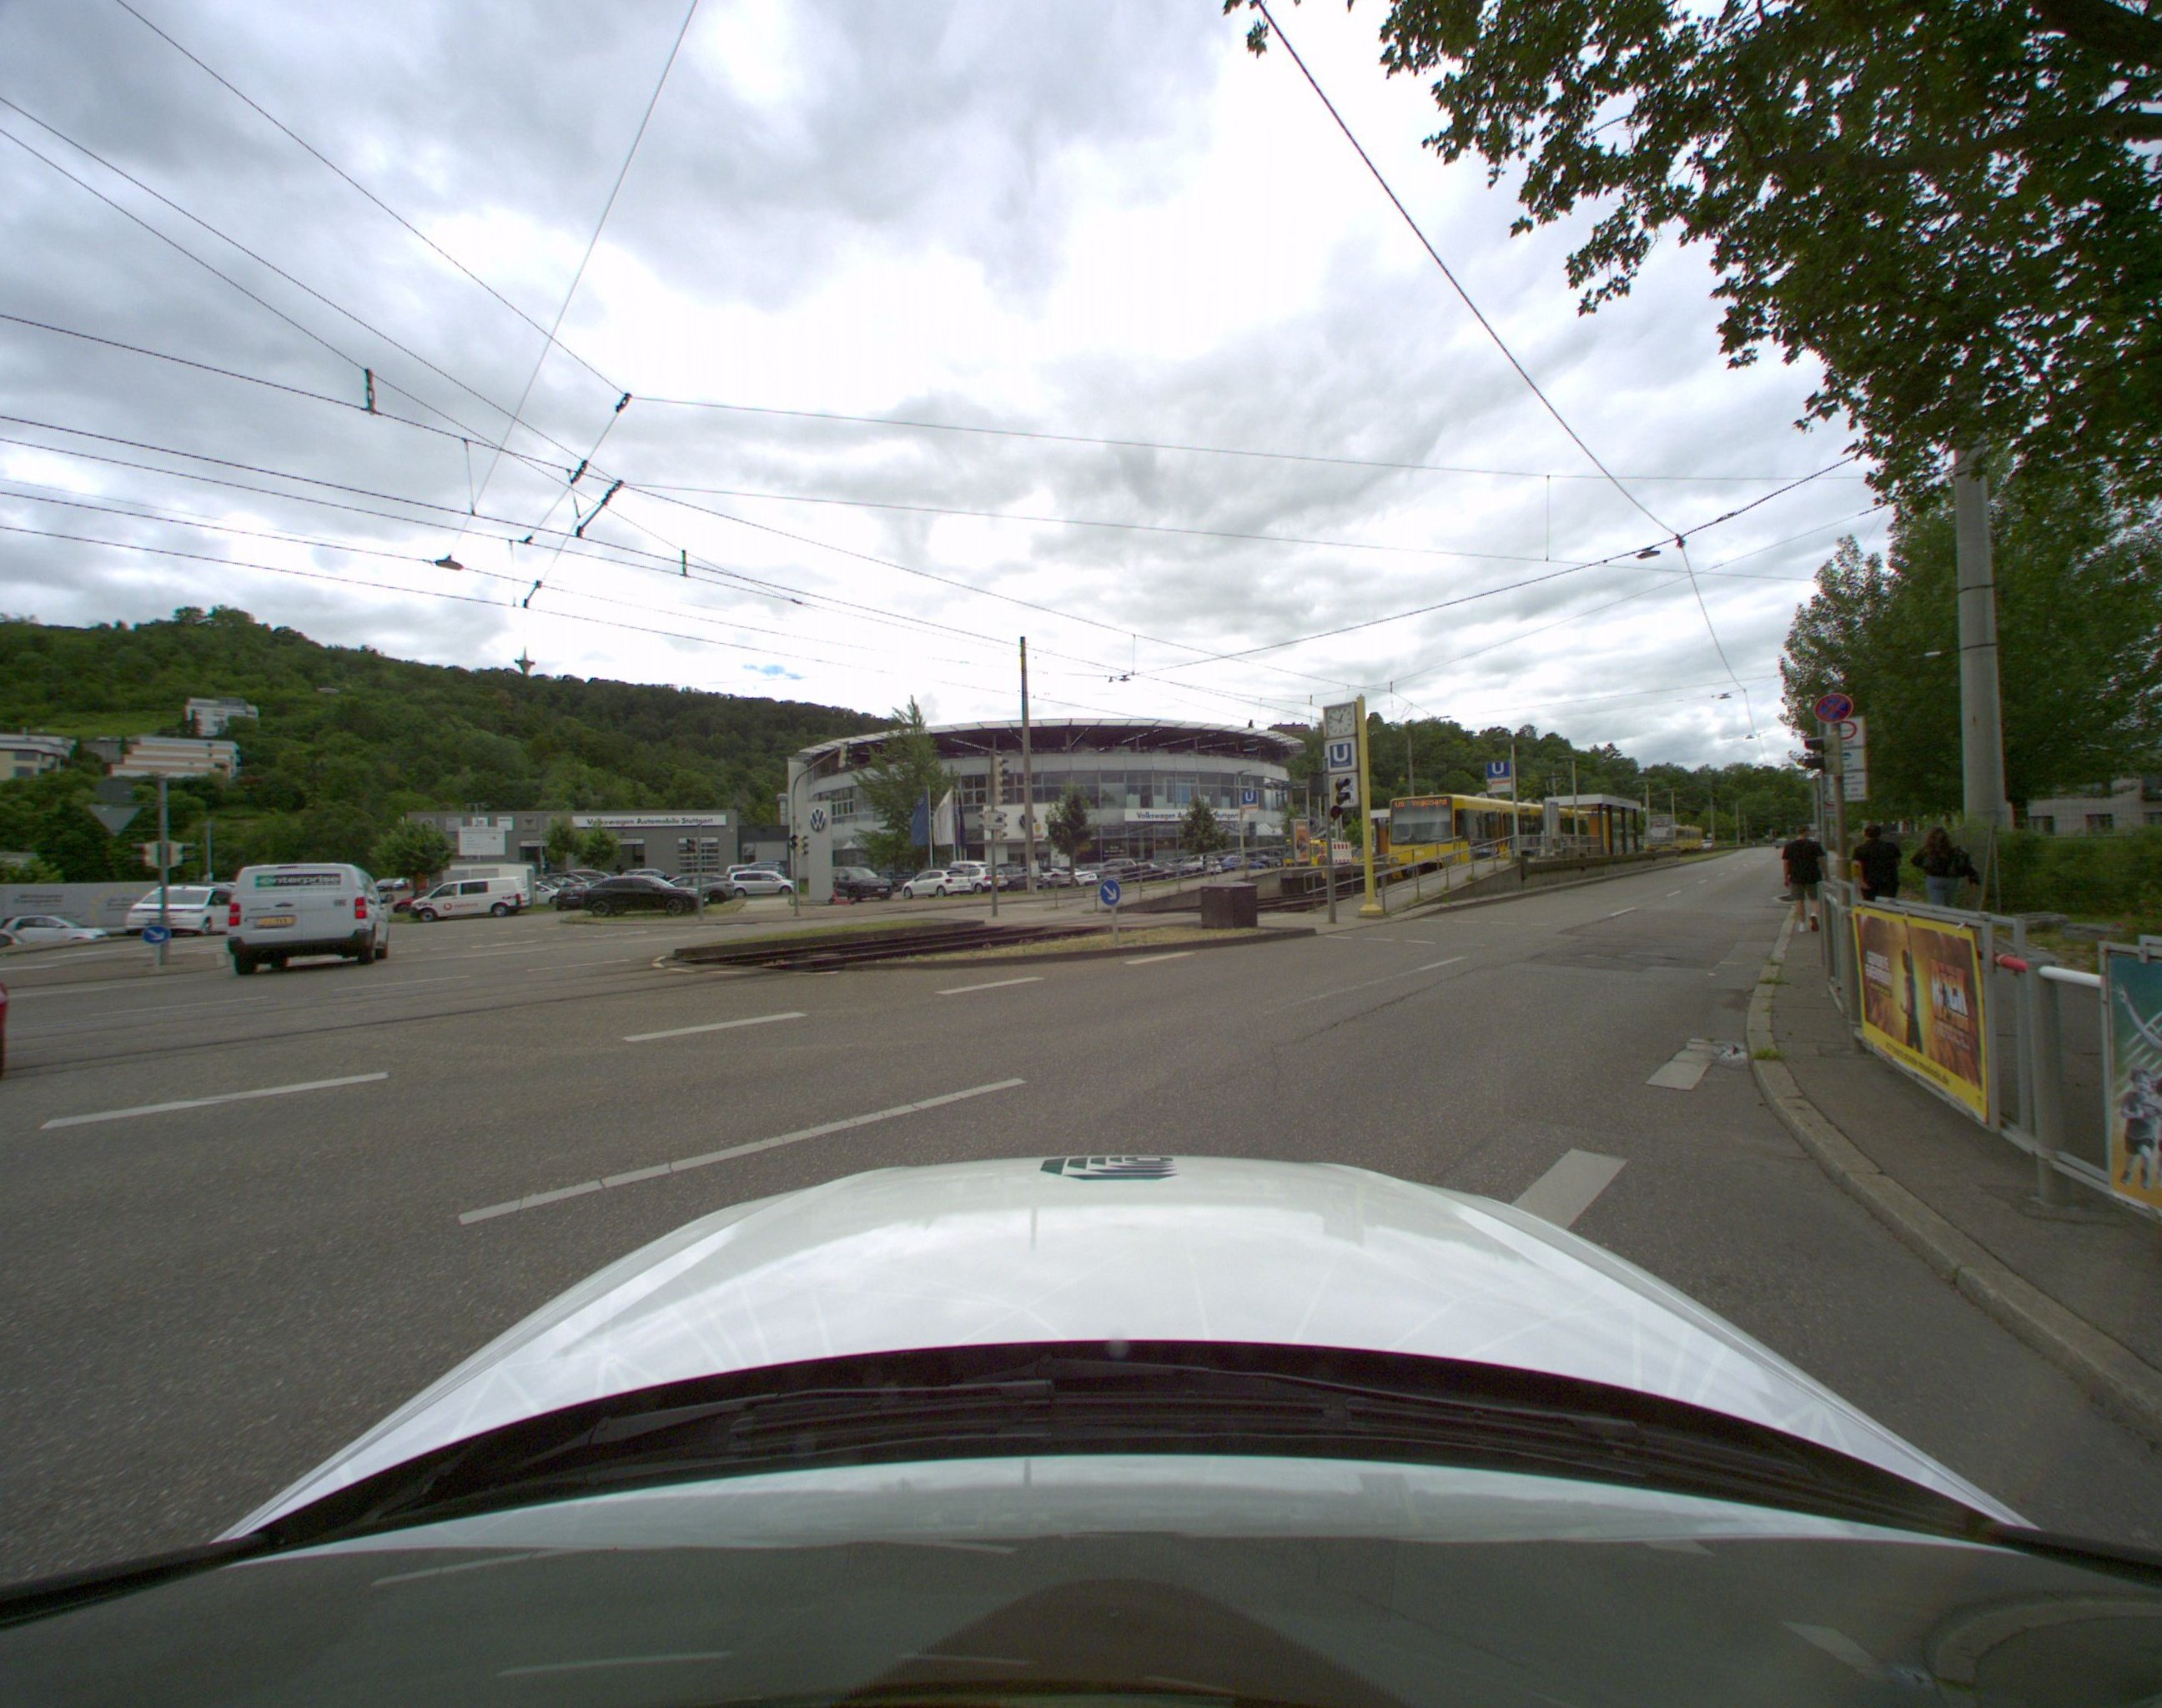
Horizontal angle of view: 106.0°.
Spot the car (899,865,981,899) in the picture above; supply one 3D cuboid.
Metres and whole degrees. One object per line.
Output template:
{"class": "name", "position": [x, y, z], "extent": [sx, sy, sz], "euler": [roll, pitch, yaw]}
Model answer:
{"class": "car", "position": [-7.247, 1.463, 41.852], "extent": [3.948, 1.640, 2.012], "euler": [-2, -4, 38]}

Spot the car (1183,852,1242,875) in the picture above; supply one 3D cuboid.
{"class": "car", "position": [9.737, 0.731, 60.326], "extent": [1.938, 1.554, 3.951], "euler": [4, -5, -43]}

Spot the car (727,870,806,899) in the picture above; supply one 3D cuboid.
{"class": "car", "position": [-19.993, 1.955, 51.769], "extent": [4.518, 1.729, 1.983], "euler": [2, -4, -26]}

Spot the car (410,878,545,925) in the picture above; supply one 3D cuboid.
{"class": "car", "position": [-30.312, 2.370, 41.095], "extent": [5.019, 2.014, 1.986], "euler": [-3, -2, -20]}

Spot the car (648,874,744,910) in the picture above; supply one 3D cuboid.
{"class": "car", "position": [-18.923, 1.894, 40.082], "extent": [4.015, 1.706, 1.979], "euler": [3, -4, -34]}

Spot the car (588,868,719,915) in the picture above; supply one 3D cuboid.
{"class": "car", "position": [-16.365, 1.432, 31.382], "extent": [3.988, 1.639, 1.993], "euler": [1, 1, -11]}

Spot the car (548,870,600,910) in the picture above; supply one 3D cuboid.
{"class": "car", "position": [-28.284, 2.032, 45.560], "extent": [2.005, 2.014, 4.971], "euler": [-2, -2, -28]}

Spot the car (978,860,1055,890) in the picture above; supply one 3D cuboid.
{"class": "car", "position": [-3.580, 1.211, 45.128], "extent": [3.948, 1.554, 1.939], "euler": [-2, -4, 38]}

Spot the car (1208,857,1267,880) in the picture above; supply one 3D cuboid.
{"class": "car", "position": [11.729, 1.116, 61.214], "extent": [1.938, 1.554, 3.951], "euler": [4, -5, -43]}

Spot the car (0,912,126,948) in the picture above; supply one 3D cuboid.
{"class": "car", "position": [-40.831, 3.015, 32.759], "extent": [2.825, 1.338, 1.518], "euler": [3, -4, -39]}

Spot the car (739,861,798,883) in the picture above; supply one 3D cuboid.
{"class": "car", "position": [-26.798, 1.556, 69.805], "extent": [4.518, 1.729, 1.983], "euler": [2, -4, -26]}

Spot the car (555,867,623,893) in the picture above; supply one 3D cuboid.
{"class": "car", "position": [-36.715, 1.981, 60.891], "extent": [4.002, 1.794, 1.839], "euler": [2, -4, -22]}

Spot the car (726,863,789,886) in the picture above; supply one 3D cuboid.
{"class": "car", "position": [-25.975, 1.679, 65.430], "extent": [4.518, 1.729, 1.983], "euler": [2, -4, -26]}

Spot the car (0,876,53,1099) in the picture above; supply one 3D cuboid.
{"class": "car", "position": [-9.581, 0.938, 6.311], "extent": [3.948, 1.525, 1.713], "euler": [0, -3, 35]}

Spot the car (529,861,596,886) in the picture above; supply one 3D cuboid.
{"class": "car", "position": [-40.189, 1.564, 63.201], "extent": [4.002, 1.794, 1.839], "euler": [2, -4, -22]}

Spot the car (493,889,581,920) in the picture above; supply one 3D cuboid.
{"class": "car", "position": [-32.497, 3.032, 48.825], "extent": [4.002, 1.794, 1.839], "euler": [2, -4, -22]}

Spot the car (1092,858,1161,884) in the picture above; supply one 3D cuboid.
{"class": "car", "position": [2.917, 1.082, 52.496], "extent": [3.948, 1.554, 1.940], "euler": [-2, 0, 38]}

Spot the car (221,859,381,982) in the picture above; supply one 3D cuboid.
{"class": "car", "position": [-15.572, 1.180, 16.426], "extent": [2.016, 2.041, 4.773], "euler": [2, -1, -42]}

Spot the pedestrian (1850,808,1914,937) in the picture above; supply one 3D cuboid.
{"class": "pedestrian", "position": [12.008, 0.276, 12.228], "extent": [0.597, 1.867, 0.676], "euler": [-3, -2, 44]}

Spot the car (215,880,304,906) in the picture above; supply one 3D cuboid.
{"class": "car", "position": [-65.000, 3.137, 64.566], "extent": [4.524, 1.997, 1.980], "euler": [2, -4, -31]}

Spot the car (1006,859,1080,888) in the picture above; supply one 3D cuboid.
{"class": "car", "position": [-2.220, 1.151, 47.277], "extent": [3.948, 1.554, 1.939], "euler": [-2, -4, 38]}

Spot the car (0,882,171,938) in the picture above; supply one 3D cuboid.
{"class": "car", "position": [-42.913, 2.407, 35.150], "extent": [1.974, 2.243, 4.538], "euler": [-2, -4, 36]}

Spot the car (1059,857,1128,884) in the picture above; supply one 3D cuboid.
{"class": "car", "position": [0.789, 1.089, 50.920], "extent": [3.948, 1.554, 1.939], "euler": [-2, -4, 38]}

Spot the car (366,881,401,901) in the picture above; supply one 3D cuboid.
{"class": "car", "position": [-71.250, 3.830, 83.259], "extent": [2.007, 1.997, 4.463], "euler": [3, -4, -33]}

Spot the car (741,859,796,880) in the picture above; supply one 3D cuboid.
{"class": "car", "position": [-28.646, 1.450, 74.614], "extent": [4.518, 1.729, 1.983], "euler": [2, -4, -26]}

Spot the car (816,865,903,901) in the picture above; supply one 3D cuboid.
{"class": "car", "position": [-10.503, 1.369, 38.513], "extent": [3.948, 1.640, 2.013], "euler": [-2, -2, 38]}

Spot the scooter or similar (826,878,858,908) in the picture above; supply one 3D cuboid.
{"class": "scooter or similar", "position": [-10.387, 1.704, 35.375], "extent": [1.207, 1.288, 0.570], "euler": [2, -4, -29]}

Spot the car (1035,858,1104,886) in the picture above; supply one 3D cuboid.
{"class": "car", "position": [-0.705, 1.104, 49.181], "extent": [3.948, 1.554, 1.739], "euler": [-2, -4, 38]}

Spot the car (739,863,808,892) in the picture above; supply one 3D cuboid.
{"class": "car", "position": [-22.148, 1.736, 58.661], "extent": [4.517, 1.997, 1.983], "euler": [2, -4, -25]}

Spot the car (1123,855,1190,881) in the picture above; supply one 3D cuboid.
{"class": "car", "position": [4.998, 0.956, 53.872], "extent": [3.948, 1.554, 1.940], "euler": [-2, 0, 38]}

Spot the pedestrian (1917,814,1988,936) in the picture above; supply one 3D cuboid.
{"class": "pedestrian", "position": [12.519, 0.311, 11.721], "extent": [0.597, 1.690, 0.675], "euler": [-3, -5, 44]}

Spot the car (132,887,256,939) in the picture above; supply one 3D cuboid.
{"class": "car", "position": [-33.988, 2.229, 31.384], "extent": [2.091, 1.854, 4.855], "euler": [3, -4, -34]}

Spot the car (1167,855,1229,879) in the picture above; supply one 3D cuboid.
{"class": "car", "position": [8.318, 0.923, 58.008], "extent": [1.938, 1.554, 3.951], "euler": [-2, -1, -43]}

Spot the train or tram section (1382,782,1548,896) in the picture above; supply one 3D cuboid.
{"class": "train or tram section", "position": [16.326, -0.647, 33.844], "extent": [2.714, 3.966, 11.985], "euler": [-3, 0, 42]}

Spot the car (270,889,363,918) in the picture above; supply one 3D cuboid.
{"class": "car", "position": [-54.481, 3.512, 58.166], "extent": [4.531, 1.997, 1.977], "euler": [3, -4, -38]}

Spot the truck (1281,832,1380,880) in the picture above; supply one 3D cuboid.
{"class": "truck", "position": [17.552, 0.077, 56.907], "extent": [2.669, 3.078, 9.061], "euler": [-3, -1, 44]}

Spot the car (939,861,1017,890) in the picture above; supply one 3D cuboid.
{"class": "car", "position": [-5.522, 1.174, 43.458], "extent": [3.948, 1.477, 1.825], "euler": [-2, -4, 38]}

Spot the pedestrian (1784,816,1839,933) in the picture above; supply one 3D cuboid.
{"class": "pedestrian", "position": [12.021, 0.352, 13.403], "extent": [0.597, 1.868, 0.675], "euler": [-3, -5, 44]}

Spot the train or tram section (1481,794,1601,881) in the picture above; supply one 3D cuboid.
{"class": "train or tram section", "position": [24.408, -0.884, 42.759], "extent": [2.714, 3.966, 11.985], "euler": [-3, 0, 42]}

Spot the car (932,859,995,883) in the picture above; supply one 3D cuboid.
{"class": "car", "position": [-8.172, 1.229, 56.609], "extent": [3.949, 1.554, 1.939], "euler": [-1, -4, 30]}
